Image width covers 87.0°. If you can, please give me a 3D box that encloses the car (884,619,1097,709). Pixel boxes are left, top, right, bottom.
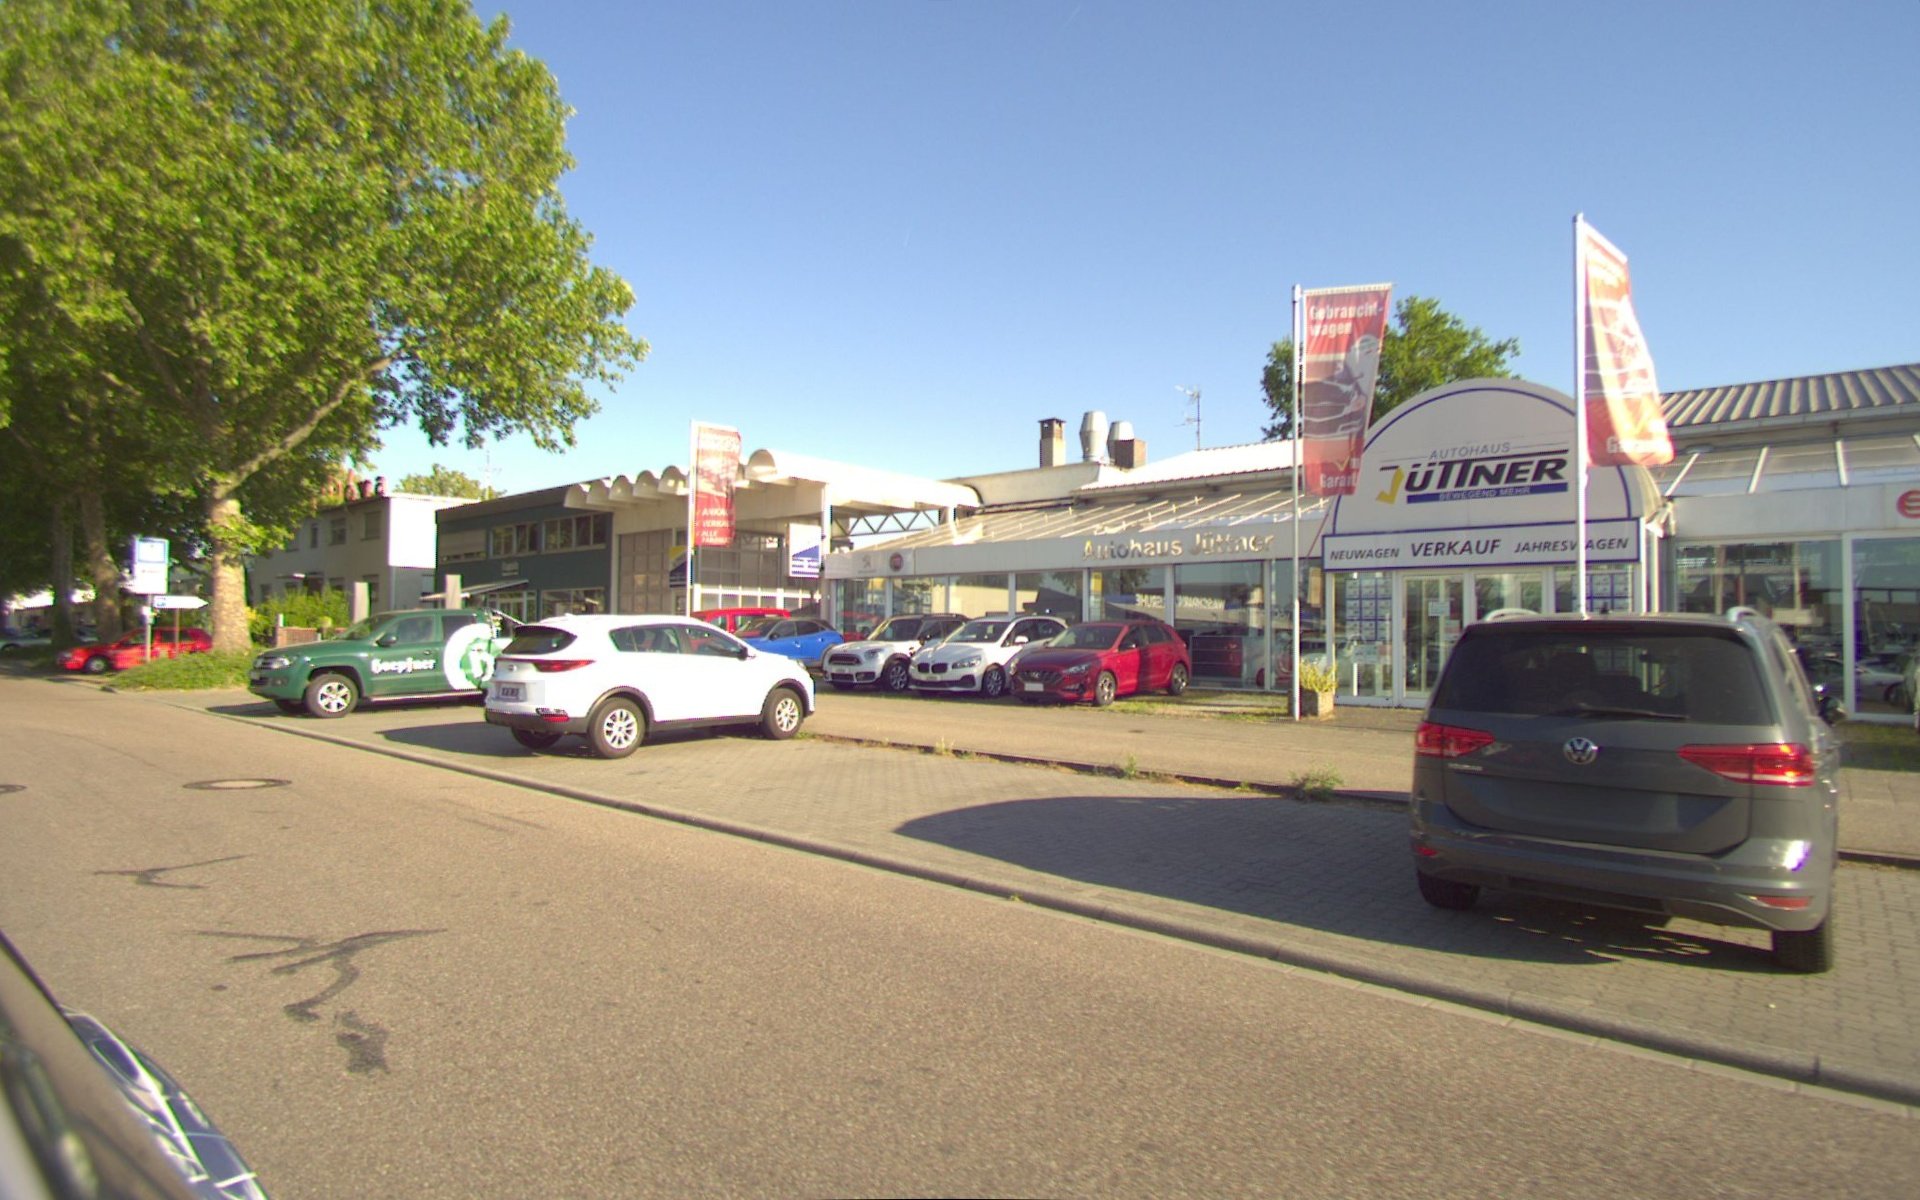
[{"bbox_3d":[0.744,1.191,20.541,1.926,1.604,4.615,-1,-2,39],"label":"car"}]

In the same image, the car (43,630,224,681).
[{"bbox_3d":[-26.616,1.733,32.680,1.999,1.457,4.252,-1,-1,40],"label":"car"}]

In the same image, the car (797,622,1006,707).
[{"bbox_3d":[-1.165,1.314,22.313,1.998,1.655,4.671,-1,-2,39],"label":"car"}]

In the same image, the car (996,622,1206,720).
[{"bbox_3d":[2.727,1.209,18.710,1.834,1.565,4.419,-1,-2,39],"label":"car"}]

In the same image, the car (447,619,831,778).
[{"bbox_3d":[-3.949,1.088,13.071,2.199,1.668,4.261,-1,-1,38],"label":"car"}]

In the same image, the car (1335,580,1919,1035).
[{"bbox_3d":[4.015,0.802,6.015,2.199,1.668,4.190,-1,-1,38],"label":"car"}]

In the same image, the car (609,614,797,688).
[{"bbox_3d":[-6.837,1.296,27.366,1.998,1.833,4.699,-1,-2,39],"label":"car"}]

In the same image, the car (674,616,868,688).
[{"bbox_3d":[-4.667,1.227,25.605,1.998,1.646,4.667,-1,-2,39],"label":"car"}]

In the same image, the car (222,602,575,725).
[{"bbox_3d":[-10.040,1.034,18.498,2.200,1.913,5.206,-1,-1,40],"label":"car"}]

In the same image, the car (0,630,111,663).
[{"bbox_3d":[-41.636,2.126,45.886,1.999,1.433,4.553,-3,-4,40],"label":"car"}]
